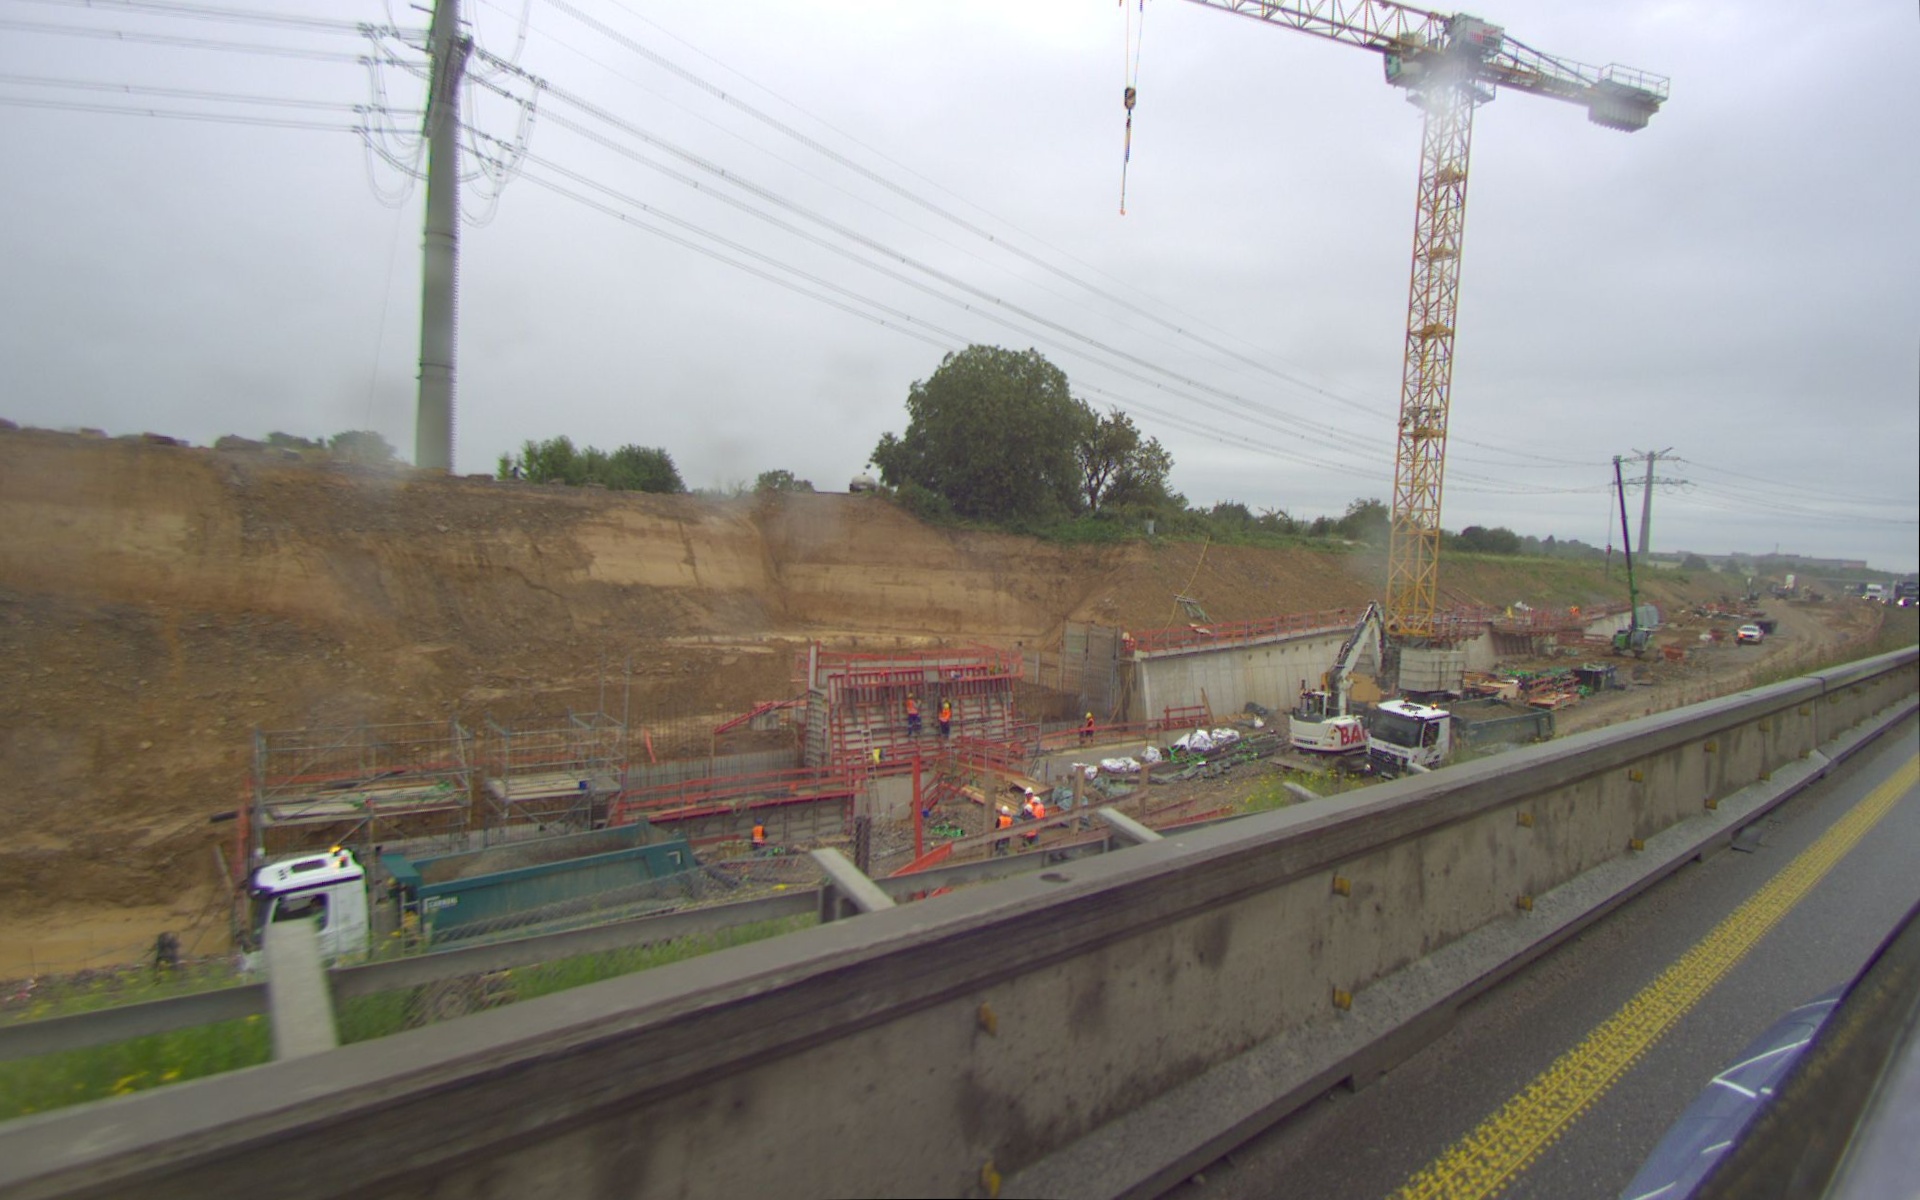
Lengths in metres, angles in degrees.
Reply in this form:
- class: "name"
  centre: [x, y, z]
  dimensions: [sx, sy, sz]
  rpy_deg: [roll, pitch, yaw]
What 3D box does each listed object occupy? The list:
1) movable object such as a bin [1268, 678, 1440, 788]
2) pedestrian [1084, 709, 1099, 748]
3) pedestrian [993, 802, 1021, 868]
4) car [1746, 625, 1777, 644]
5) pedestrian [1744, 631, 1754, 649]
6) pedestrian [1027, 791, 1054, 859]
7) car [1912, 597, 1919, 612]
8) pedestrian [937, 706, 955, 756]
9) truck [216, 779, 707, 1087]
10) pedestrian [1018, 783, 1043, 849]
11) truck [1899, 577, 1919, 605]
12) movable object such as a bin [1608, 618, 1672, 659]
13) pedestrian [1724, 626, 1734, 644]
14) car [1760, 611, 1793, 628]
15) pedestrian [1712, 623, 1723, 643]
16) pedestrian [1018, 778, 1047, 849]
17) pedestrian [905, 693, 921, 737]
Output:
- class: "movable object such as a bin"
  centre: [16.385, 5.336, 42.017]
  dimensions: [6.524, 3.466, 3.522]
  rpy_deg: [-2, 2, -32]
- class: "pedestrian"
  centre: [6.395, 6.249, 49.365]
  dimensions: [0.473, 1.781, 0.489]
  rpy_deg: [-1, 4, -41]
- class: "pedestrian"
  centre: [1.433, 7.108, 30.678]
  dimensions: [0.473, 1.790, 0.603]
  rpy_deg: [-1, 5, -41]
- class: "car"
  centre: [81.207, 3.450, 102.517]
  dimensions: [4.011, 1.638, 1.858]
  rpy_deg: [-1, 3, -43]
- class: "pedestrian"
  centre: [77.221, 3.888, 99.045]
  dimensions: [0.593, 1.702, 0.613]
  rpy_deg: [0, 0, -40]
- class: "pedestrian"
  centre: [2.506, 6.989, 31.504]
  dimensions: [0.473, 1.928, 0.603]
  rpy_deg: [-1, 3, -41]
- class: "car"
  centre: [100.421, 0.478, 105.406]
  dimensions: [1.784, 1.445, 3.938]
  rpy_deg: [0, 1, 43]
- class: "pedestrian"
  centre: [-0.597, 5.714, 44.244]
  dimensions: [0.473, 2.127, 0.488]
  rpy_deg: [-1, -3, -41]
- class: "truck"
  centre: [-10.080, 6.443, 21.321]
  dimensions: [8.909, 3.655, 2.711]
  rpy_deg: [-2, 4, -38]
- class: "pedestrian"
  centre: [2.266, 6.933, 32.497]
  dimensions: [0.473, 1.928, 0.603]
  rpy_deg: [-1, 4, -41]
- class: "truck"
  centre: [139.964, -1.361, 147.665]
  dimensions: [8.192, 3.942, 3.541]
  rpy_deg: [-1, 0, -42]
- class: "movable object such as a bin"
  centre: [59.475, 3.279, 88.505]
  dimensions: [3.931, 2.914, 3.502]
  rpy_deg: [-1, 8, -41]
- class: "pedestrian"
  centre: [73.890, 3.322, 97.235]
  dimensions: [0.593, 1.702, 0.613]
  rpy_deg: [0, 0, -40]
- class: "car"
  centre: [95.261, 2.253, 118.053]
  dimensions: [4.777, 1.638, 2.348]
  rpy_deg: [-1, 3, -43]
- class: "pedestrian"
  centre: [73.201, 3.191, 97.786]
  dimensions: [0.655, 1.881, 0.614]
  rpy_deg: [0, 3, -40]
- class: "pedestrian"
  centre: [2.185, 6.427, 30.468]
  dimensions: [0.604, 1.928, 0.603]
  rpy_deg: [-1, 3, -41]
- class: "pedestrian"
  centre: [-2.004, 4.922, 43.325]
  dimensions: [0.571, 1.827, 0.489]
  rpy_deg: [-3, -3, -1]
